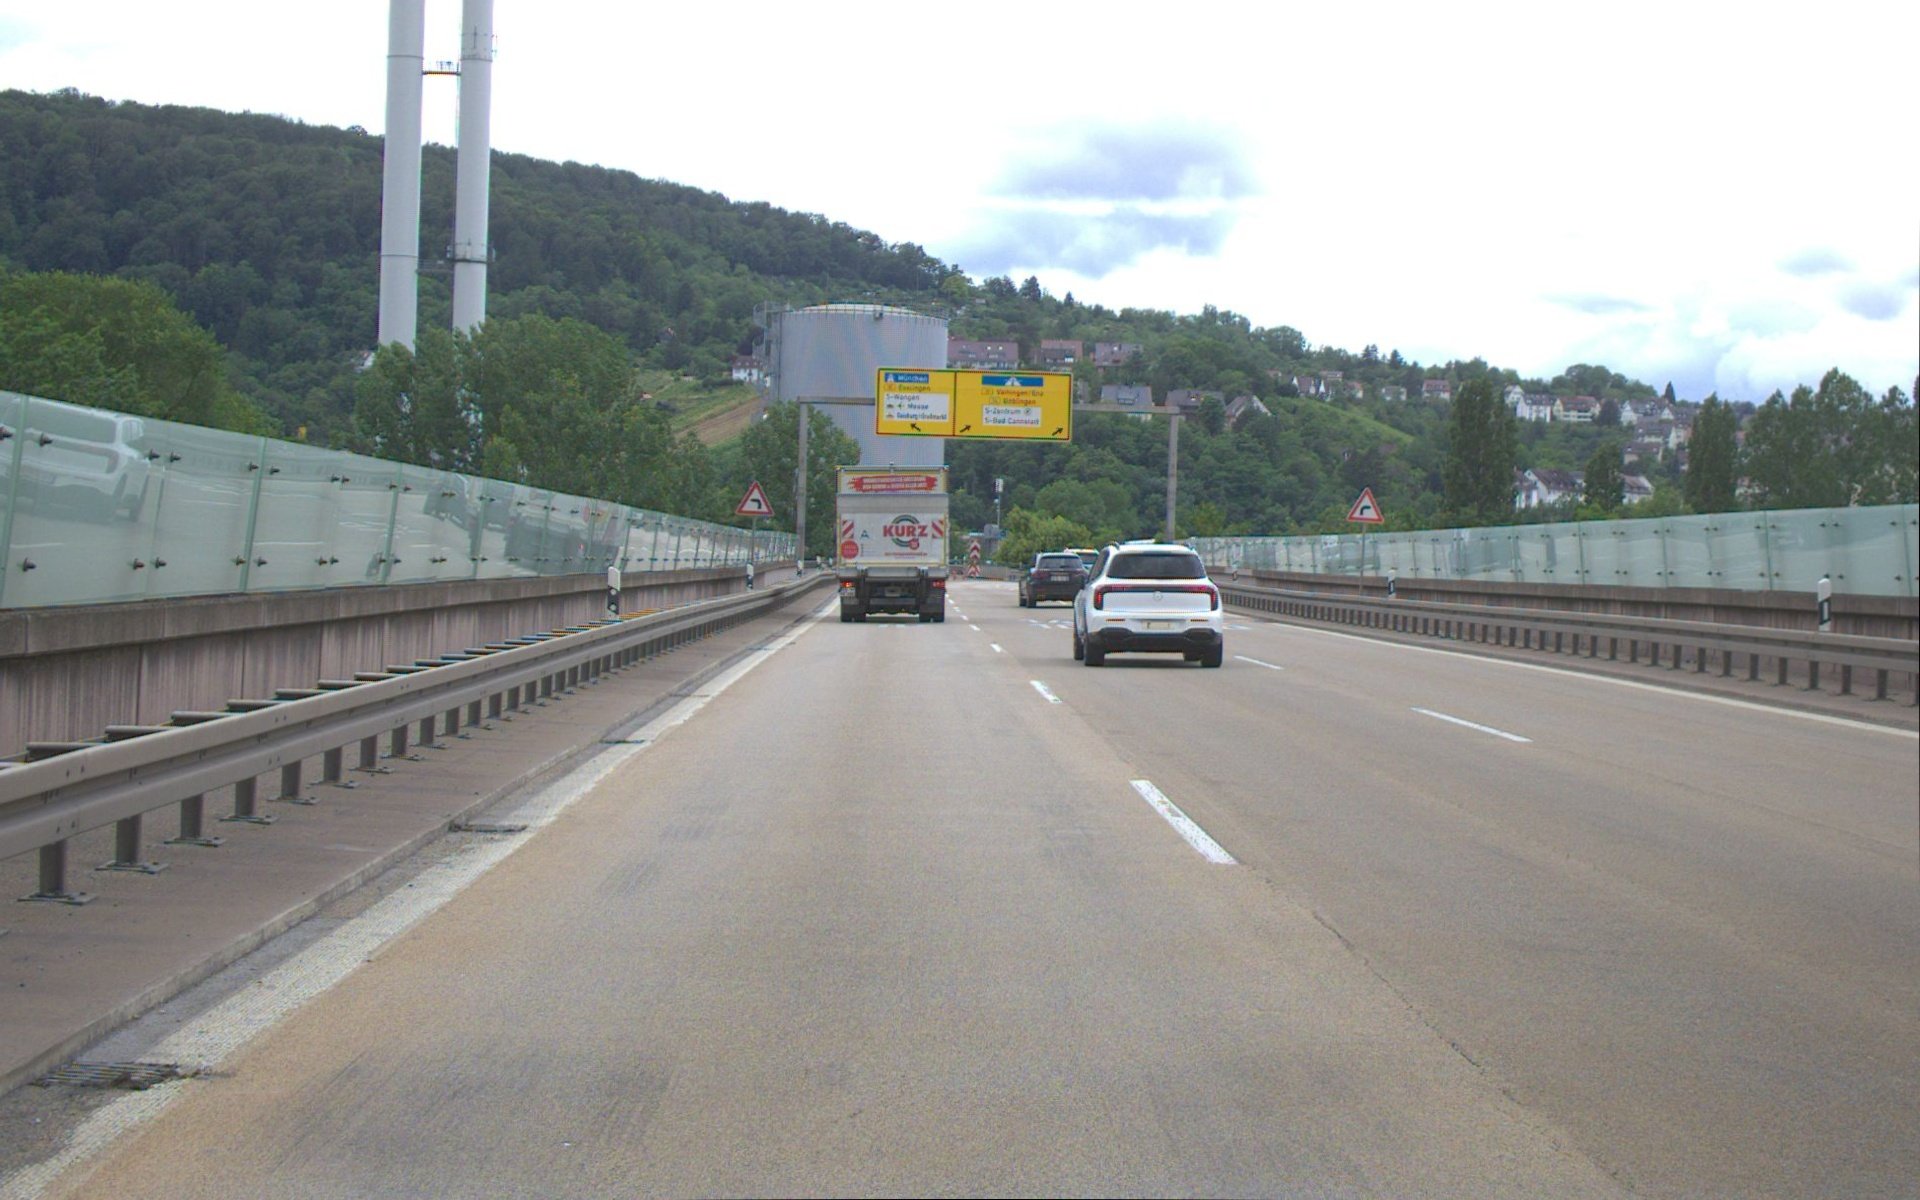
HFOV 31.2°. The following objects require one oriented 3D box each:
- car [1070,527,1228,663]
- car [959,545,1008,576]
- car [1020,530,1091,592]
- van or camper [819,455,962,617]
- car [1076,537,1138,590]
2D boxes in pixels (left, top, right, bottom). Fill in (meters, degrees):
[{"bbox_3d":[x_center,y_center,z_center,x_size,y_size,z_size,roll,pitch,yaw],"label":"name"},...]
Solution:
[{"bbox_3d":[2.578,-0.106,47.870,1.924,1.779,4.113,1,1,0],"label":"car"},{"bbox_3d":[1.540,-2.565,222.407,2.474,1.973,5.158,1,1,8],"label":"car"},{"bbox_3d":[2.799,-1.166,101.597,1.924,1.779,4.113,1,1,0],"label":"car"},{"bbox_3d":[-1.546,-1.469,80.950,3.122,3.567,8.550,1,1,0],"label":"van or camper"},{"bbox_3d":[5.115,-1.298,119.894,1.924,1.779,4.113,1,1,0],"label":"car"}]
